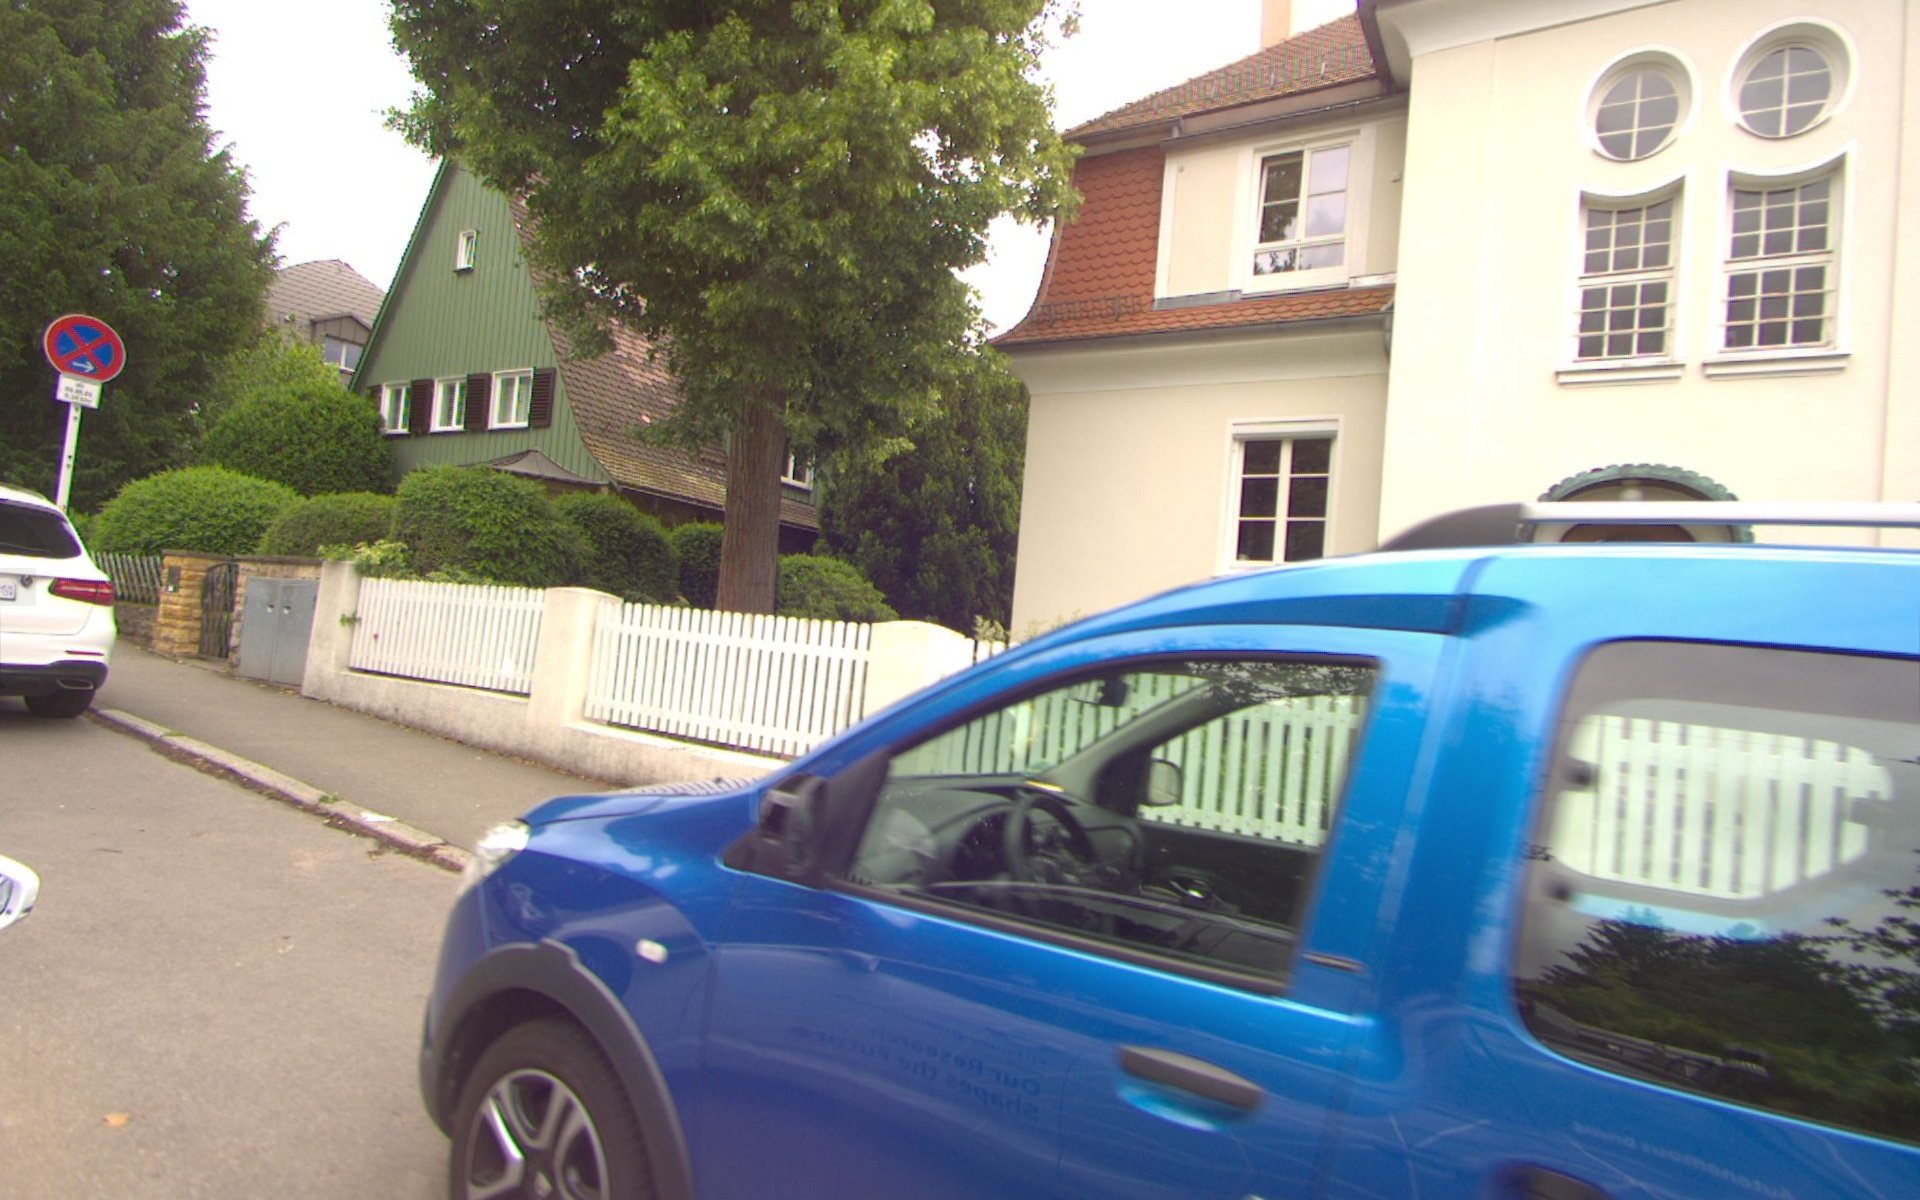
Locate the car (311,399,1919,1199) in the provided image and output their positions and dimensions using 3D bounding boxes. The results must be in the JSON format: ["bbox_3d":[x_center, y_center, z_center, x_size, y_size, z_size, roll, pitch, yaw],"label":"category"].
[{"bbox_3d":[0.814,0.768,1.975,4.087,1.849,1.687,7,-3,31],"label":"car"}]

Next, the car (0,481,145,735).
[{"bbox_3d":[-8.220,-0.188,7.363,4.496,1.624,1.763,7,-3,28],"label":"car"}]
